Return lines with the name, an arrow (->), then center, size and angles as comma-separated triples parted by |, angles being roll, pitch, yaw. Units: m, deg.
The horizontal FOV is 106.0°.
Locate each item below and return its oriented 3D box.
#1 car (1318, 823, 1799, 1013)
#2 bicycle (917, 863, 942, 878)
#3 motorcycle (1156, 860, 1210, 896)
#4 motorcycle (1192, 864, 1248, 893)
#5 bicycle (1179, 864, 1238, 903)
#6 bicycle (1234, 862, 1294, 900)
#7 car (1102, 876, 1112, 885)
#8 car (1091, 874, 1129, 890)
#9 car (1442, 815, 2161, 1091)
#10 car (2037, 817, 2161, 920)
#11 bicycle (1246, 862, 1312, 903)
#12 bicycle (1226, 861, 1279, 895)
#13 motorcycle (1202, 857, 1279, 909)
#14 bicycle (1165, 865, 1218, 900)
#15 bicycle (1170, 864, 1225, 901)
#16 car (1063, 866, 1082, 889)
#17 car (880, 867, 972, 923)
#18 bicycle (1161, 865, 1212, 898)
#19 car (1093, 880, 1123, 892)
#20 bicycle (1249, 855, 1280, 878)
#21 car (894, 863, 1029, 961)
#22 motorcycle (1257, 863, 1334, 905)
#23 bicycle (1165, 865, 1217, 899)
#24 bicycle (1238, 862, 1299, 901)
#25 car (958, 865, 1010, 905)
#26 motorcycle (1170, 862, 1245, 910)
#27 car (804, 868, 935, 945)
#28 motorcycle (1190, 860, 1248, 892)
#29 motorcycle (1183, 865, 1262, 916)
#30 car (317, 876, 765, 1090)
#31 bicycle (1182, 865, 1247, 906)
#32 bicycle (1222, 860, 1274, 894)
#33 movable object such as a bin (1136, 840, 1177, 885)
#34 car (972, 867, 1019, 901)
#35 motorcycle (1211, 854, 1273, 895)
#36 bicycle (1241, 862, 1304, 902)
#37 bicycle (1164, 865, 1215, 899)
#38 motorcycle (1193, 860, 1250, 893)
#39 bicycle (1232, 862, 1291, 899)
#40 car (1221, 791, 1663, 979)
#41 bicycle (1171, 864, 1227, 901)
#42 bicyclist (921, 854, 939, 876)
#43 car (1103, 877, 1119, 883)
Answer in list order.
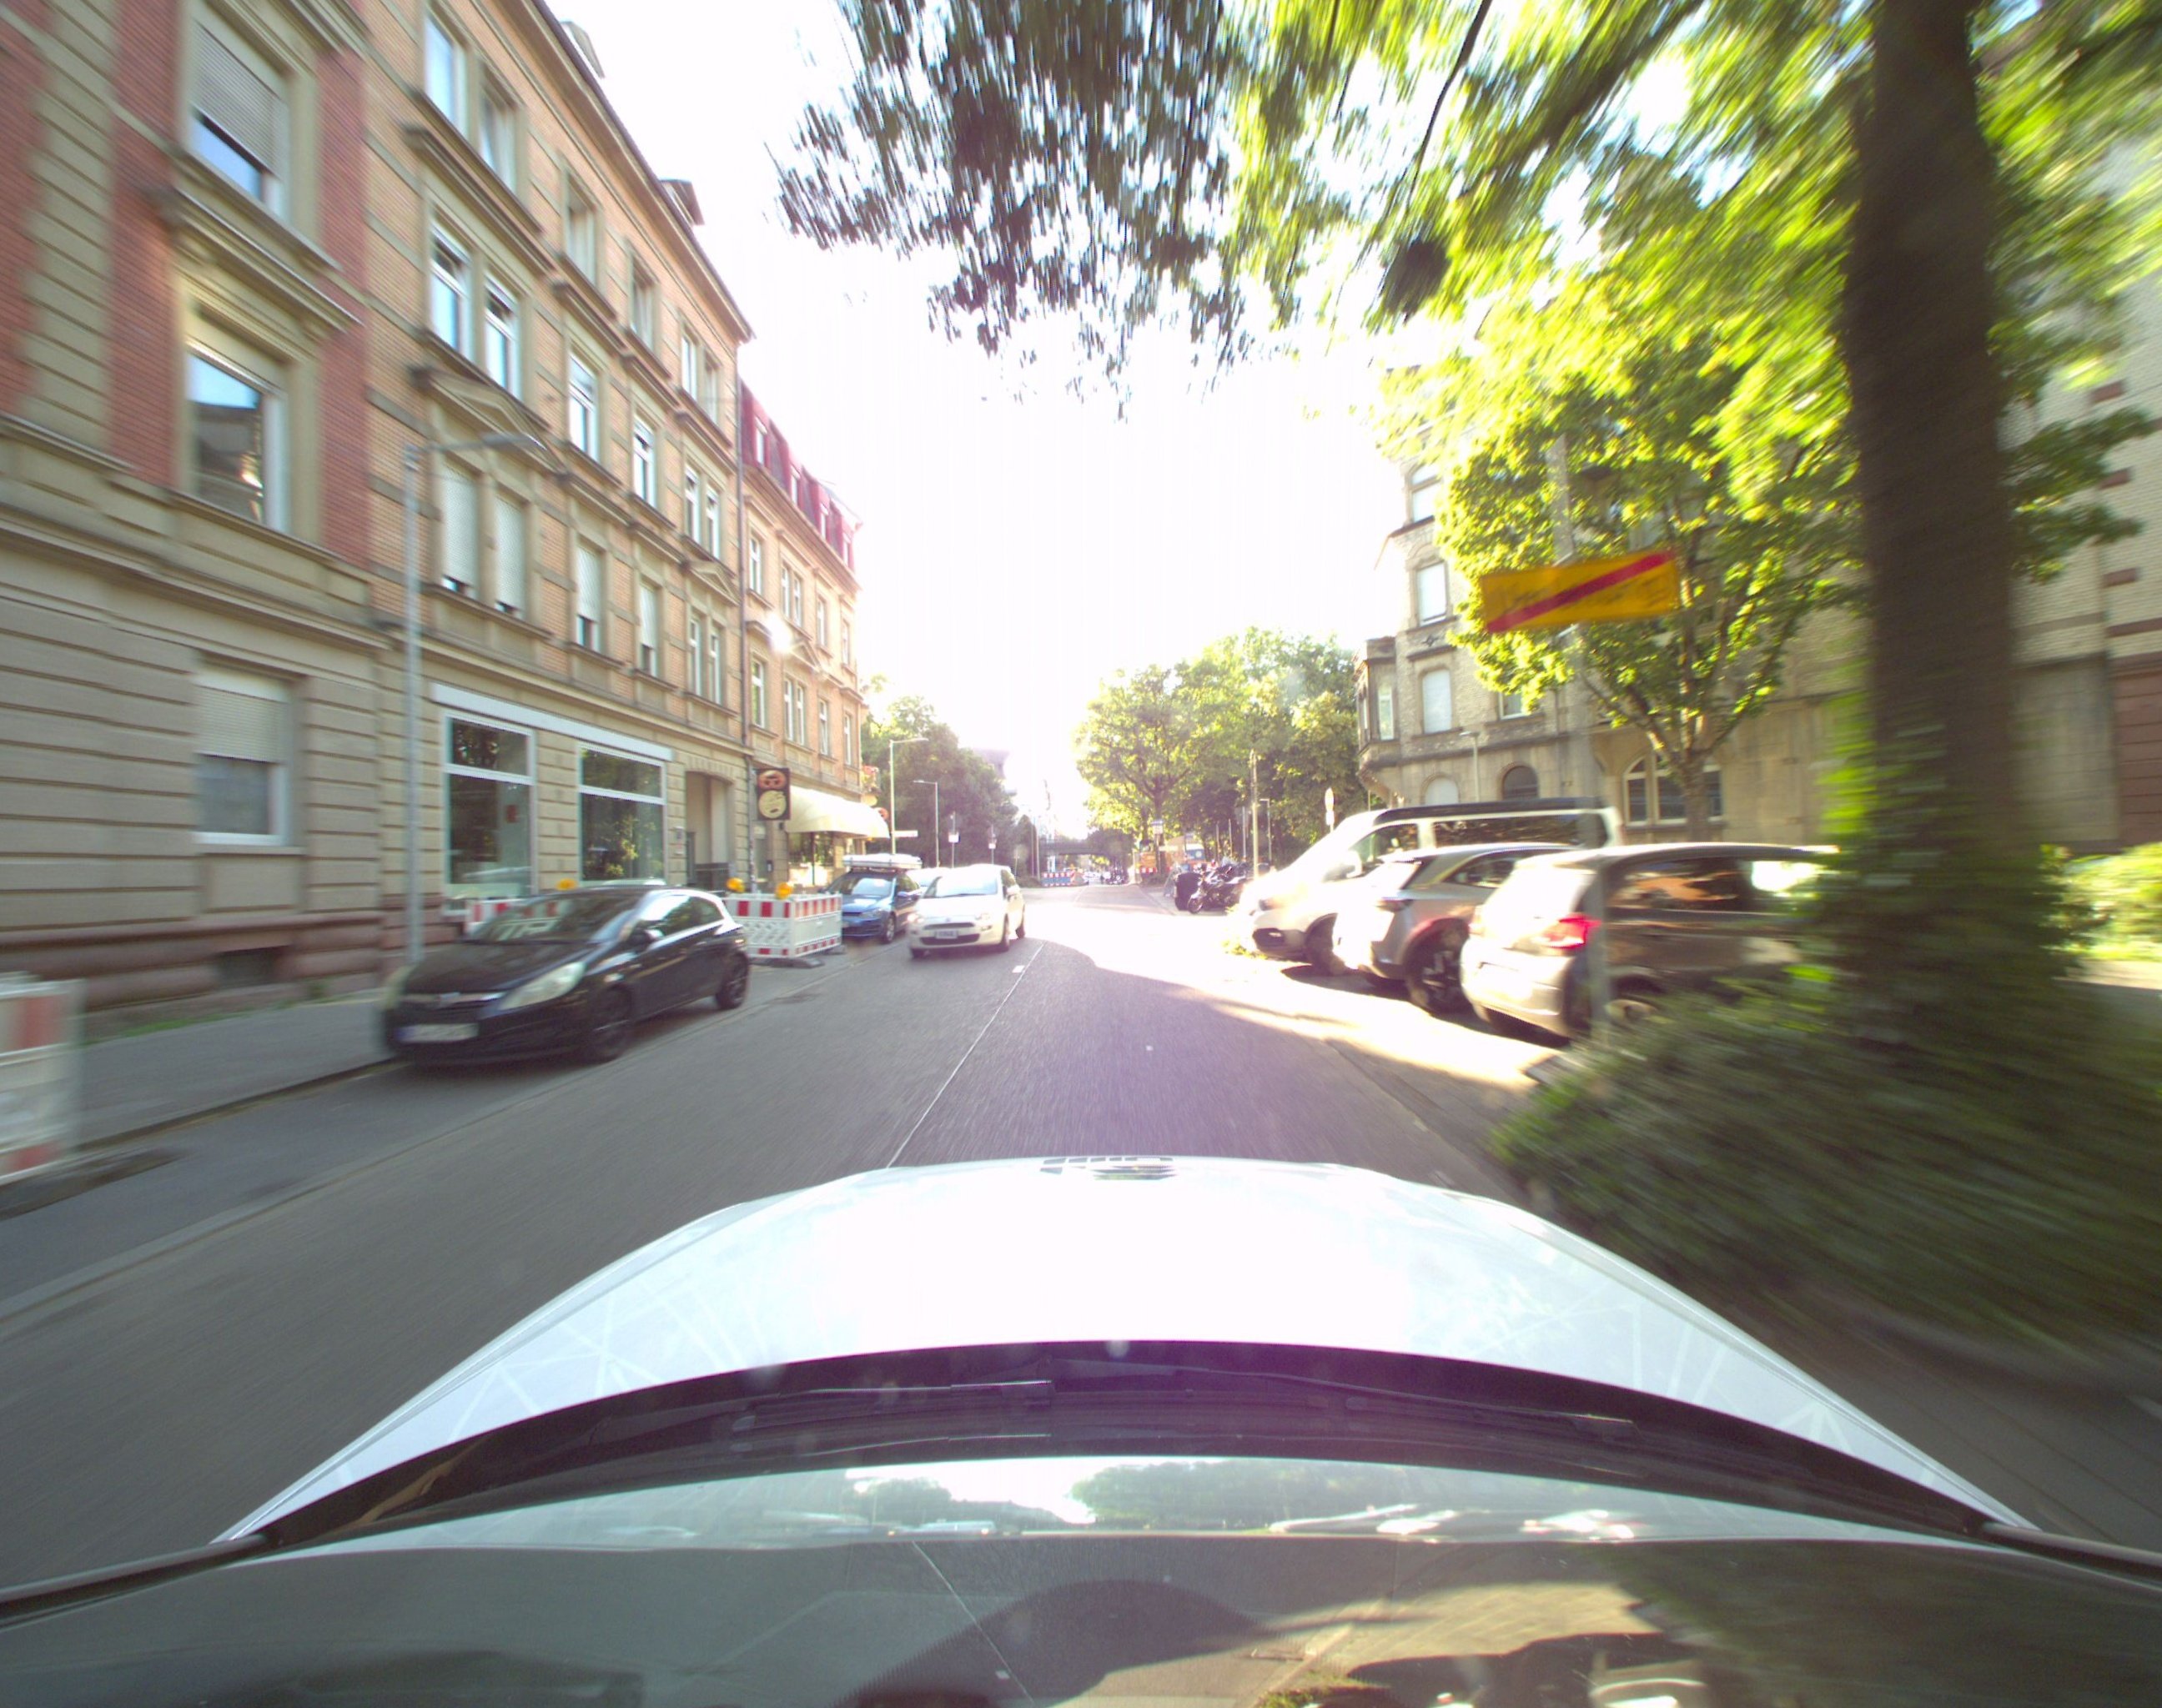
car -> 4.578, 0.591, 8.274 | 3.826, 1.595, 1.741 | -2, -1, 1
bicycle -> -9.786, 1.082, 52.547 | 0.809, 0.968, 2.086 | 0, -1, -34
motorcycle -> 4.146, 0.983, 33.042 | 1.913, 1.412, 0.947 | -2, -1, 29
motorcycle -> 6.018, 1.055, 35.163 | 2.266, 1.180, 0.974 | -2, -1, 14
bicycle -> 4.272, 0.987, 27.293 | 1.921, 1.246, 0.302 | -1, -1, -5
bicycle -> 6.211, 0.909, 27.640 | 1.921, 1.246, 0.479 | -1, -1, -5
car -> 4.788, 4.891, 149.869 | 1.768, 1.609, 4.402 | -2, -1, 1
car -> 3.329, 3.236, 93.902 | 4.375, 1.702, 1.915 | 0, -4, -1
car -> 4.886, 0.589, 5.745 | 3.826, 1.515, 1.848 | -2, -1, 1
car -> 18.068, 0.182, 12.509 | 1.788, 1.610, 4.173 | -2, -1, -34
bicycle -> 6.318, 0.892, 26.025 | 1.921, 1.246, 0.647 | -1, -1, -5
bicycle -> 6.557, 0.902, 31.190 | 1.921, 1.246, 0.479 | -1, -1, -5
motorcycle -> 4.564, 0.828, 23.402 | 2.015, 1.362, 0.694 | -3, -1, 1
bicycle -> 4.152, 1.065, 30.507 | 1.921, 1.246, 0.302 | -1, -1, -5
bicycle -> 4.188, 1.020, 29.237 | 1.921, 1.246, 0.302 | -1, -1, -5
car -> -0.964, 2.740, 93.716 | 2.041, 2.498, 5.693 | 0, -3, -1
car -> -4.356, 1.112, 23.478 | 1.718, 1.437, 3.998 | 0, -1, 2
bicycle -> 4.144, 1.082, 31.911 | 1.921, 1.246, 0.302 | -1, -1, -5
car -> 3.905, 4.691, 119.107 | 4.375, 1.785, 1.915 | 0, -4, -1
bicycle -> 11.184, 0.752, 49.747 | 1.024, 1.285, 2.139 | -3, 0, -11
car -> -2.038, 0.945, 15.006 | 1.742, 1.509, 4.001 | -2, -1, 1
motorcycle -> 6.364, 0.884, 24.262 | 2.017, 1.108, 0.904 | -3, -1, -1
bicycle -> 4.212, 1.068, 31.221 | 1.921, 1.246, 0.302 | -1, -1, -5
bicycle -> 6.242, 0.904, 27.130 | 1.921, 1.246, 0.479 | -1, -1, -5
car -> -3.968, 1.230, 33.808 | 1.664, 1.530, 3.998 | -1, -1, -1
motorcycle -> 3.774, 0.950, 24.394 | 2.017, 1.285, 0.904 | -4, -1, -1
car -> -4.573, 1.065, 18.262 | 1.759, 1.437, 4.300 | -2, -1, 0
motorcycle -> 6.192, 0.972, 36.595 | 2.363, 1.341, 0.938 | -1, -1, -9
motorcycle -> 3.893, 0.989, 22.483 | 2.010, 1.327, 0.620 | -2, -1, -3
car -> -4.815, 1.016, 8.088 | 1.698, 1.454, 4.020 | -2, -1, 0
bicycle -> 4.233, 0.993, 25.841 | 1.921, 1.246, 0.647 | -1, -1, -5
bicycle -> 6.506, 0.889, 31.702 | 1.921, 1.246, 0.452 | -1, -1, -5
movable object such as a bin -> 4.801, 0.534, 51.277 | 1.979, 2.699, 3.122 | -2, -1, 15
car -> -3.950, 1.363, 38.260 | 1.663, 1.458, 4.001 | -2, -1, 1
motorcycle -> 6.384, 0.800, 32.373 | 2.279, 1.531, 0.754 | -1, -1, -5
bicycle -> 6.265, 0.899, 26.626 | 1.921, 1.246, 0.479 | -1, -1, -5
bicycle -> 4.193, 1.071, 31.542 | 1.921, 1.246, 0.302 | -1, -1, -5
motorcycle -> 5.913, 0.945, 34.284 | 2.267, 1.341, 0.658 | -2, -1, 13
bicycle -> 6.238, 0.911, 28.149 | 1.921, 1.246, 0.395 | -1, -1, -5
car -> 4.548, 0.389, 10.930 | 4.955, 2.096, 2.106 | -2, -1, 1
bicycle -> 4.199, 1.017, 28.909 | 1.921, 1.246, 0.302 | -1, -1, -5
bicyclist -> -9.775, 0.721, 52.543 | 0.809, 1.383, 0.975 | 0, -1, -34
car -> 8.237, 7.126, 221.958 | 4.371, 1.610, 1.780 | -1, -4, 1
